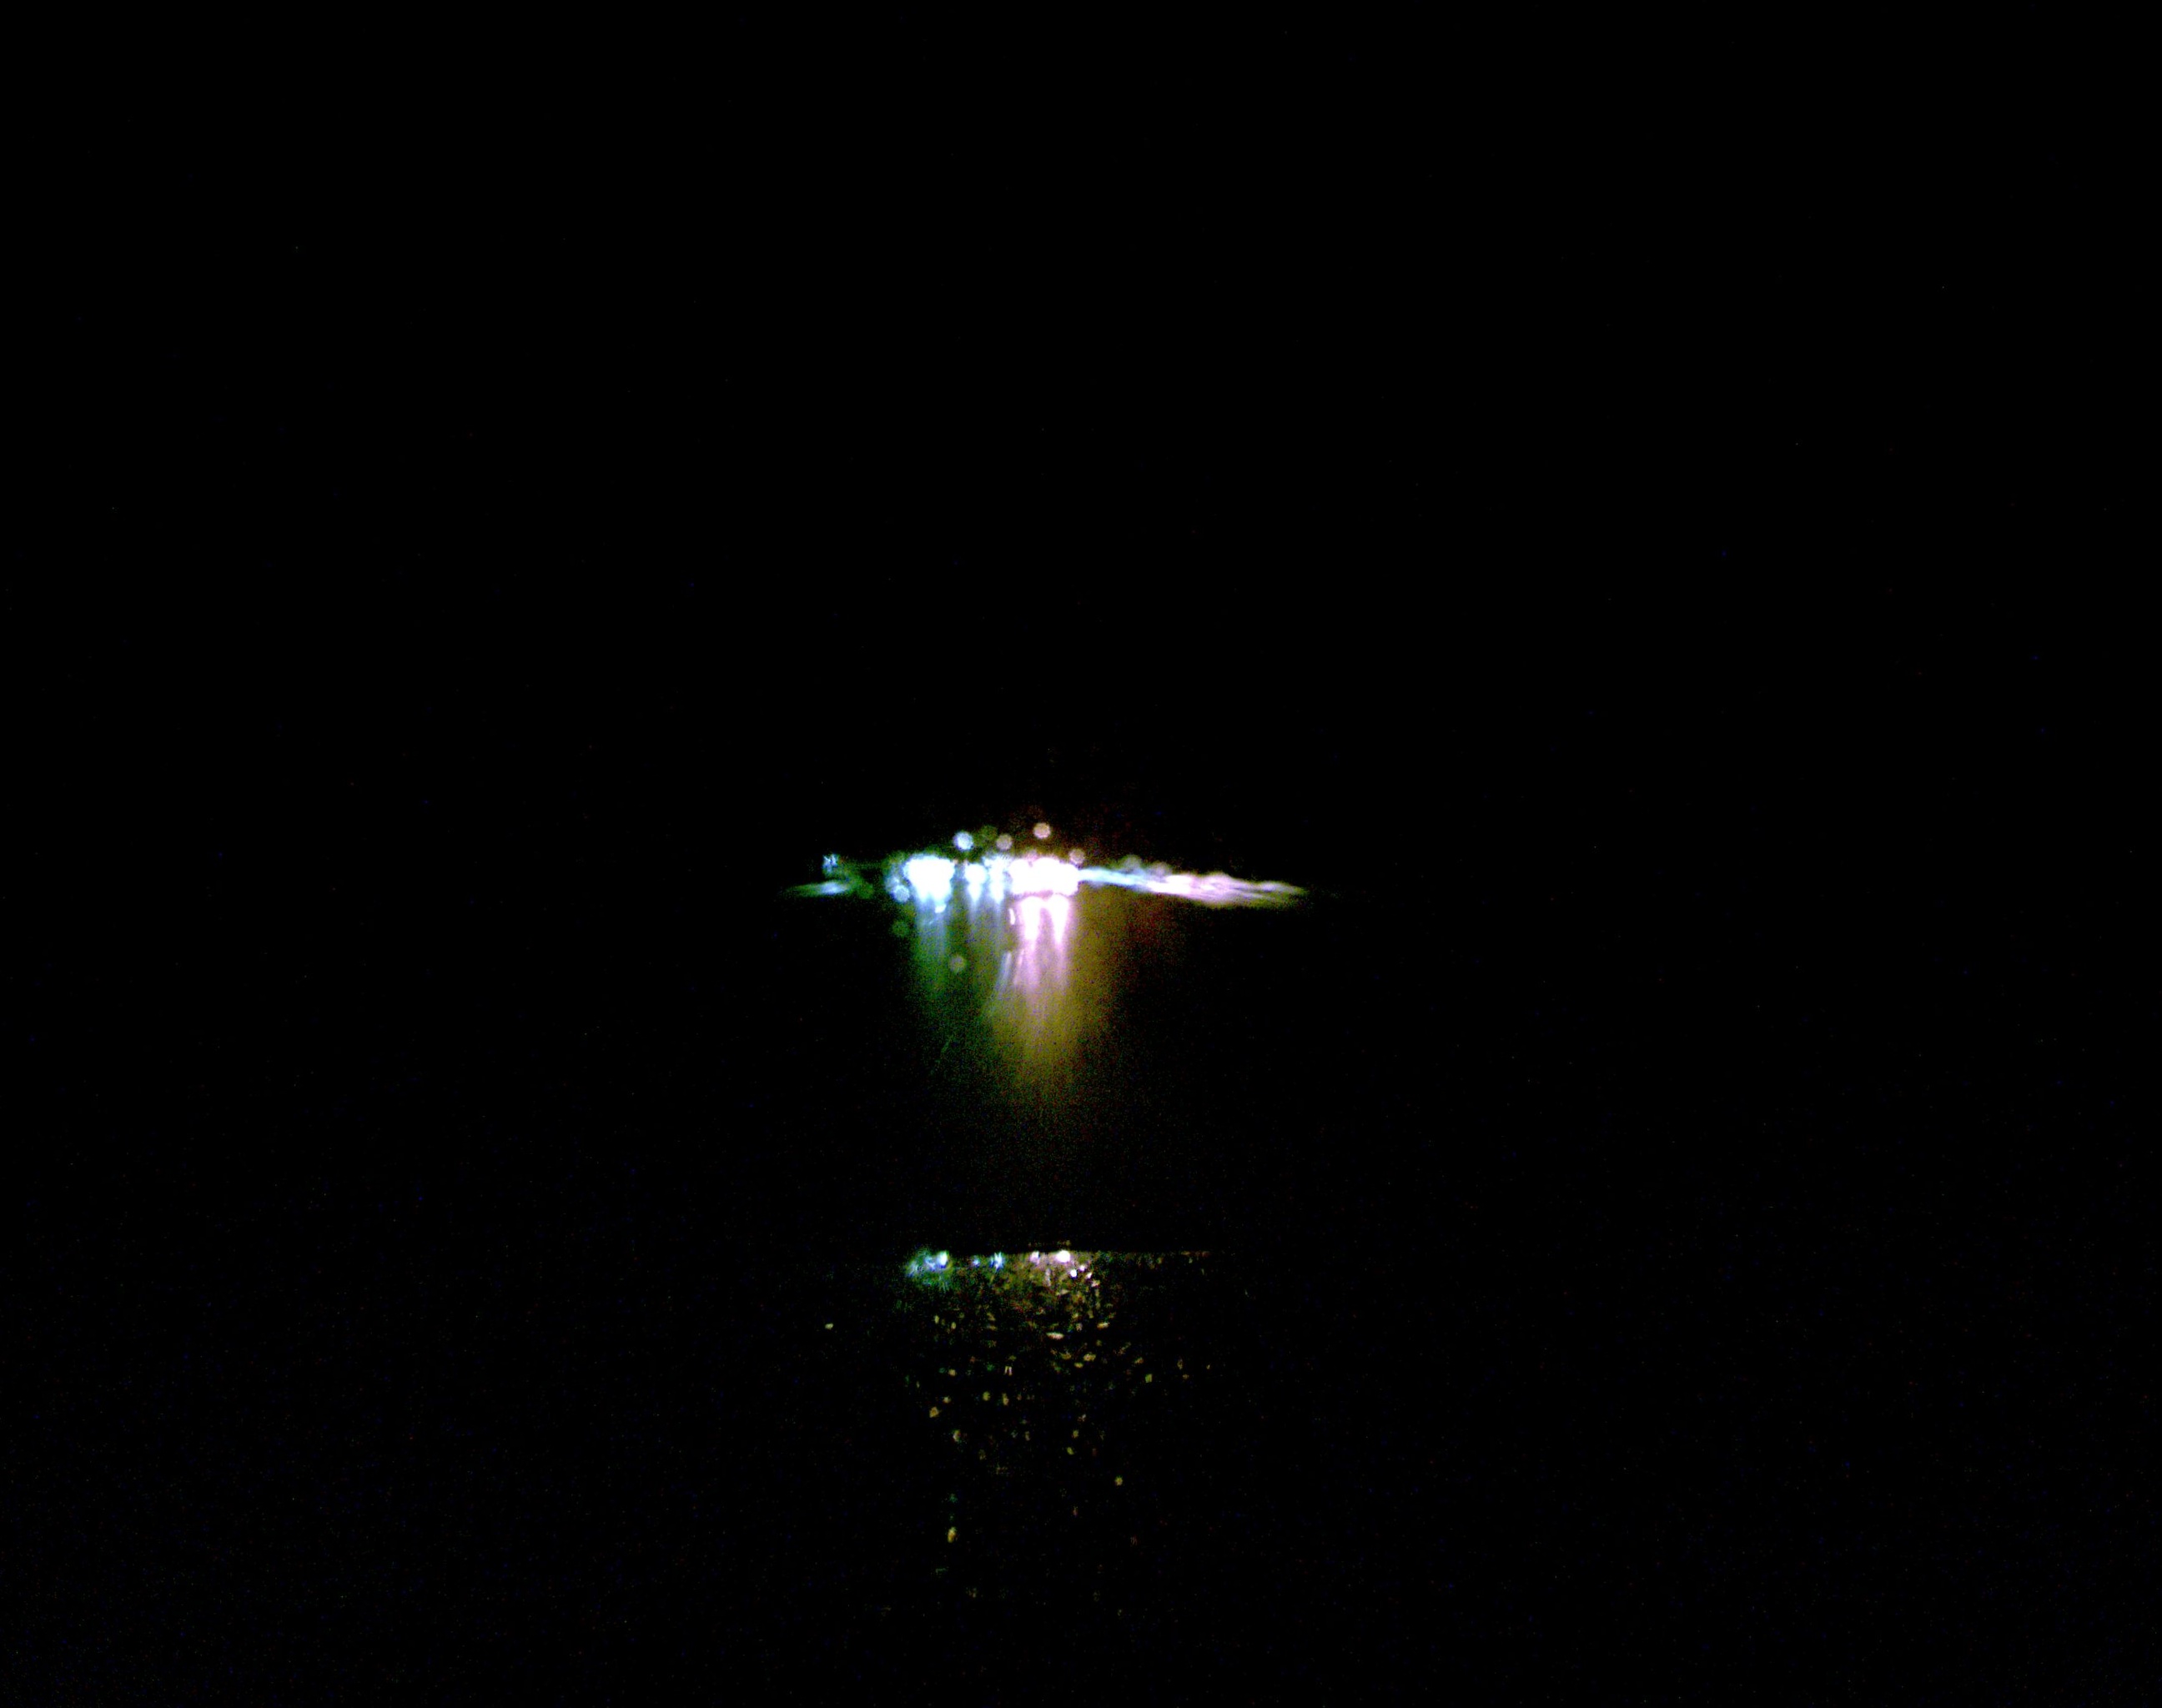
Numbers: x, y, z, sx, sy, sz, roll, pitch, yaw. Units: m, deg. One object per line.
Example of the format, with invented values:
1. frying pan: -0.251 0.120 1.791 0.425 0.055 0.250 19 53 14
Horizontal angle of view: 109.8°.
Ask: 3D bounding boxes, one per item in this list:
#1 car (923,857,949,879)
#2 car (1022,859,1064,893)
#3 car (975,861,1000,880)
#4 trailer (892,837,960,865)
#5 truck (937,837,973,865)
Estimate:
1. car: -11.829 1.116 62.184 1.742 1.674 4.117 -2 1 -8
2. car: -1.832 1.001 35.618 1.688 1.442 3.640 -2 0 -6
3. car: -7.065 1.212 57.111 1.761 1.304 4.082 -3 1 -9
4. trailer: -25.621 -0.370 125.048 13.670 4.312 2.545 -1 2 38
5. truck: -20.024 -0.479 120.621 5.548 4.312 2.545 -1 2 38
